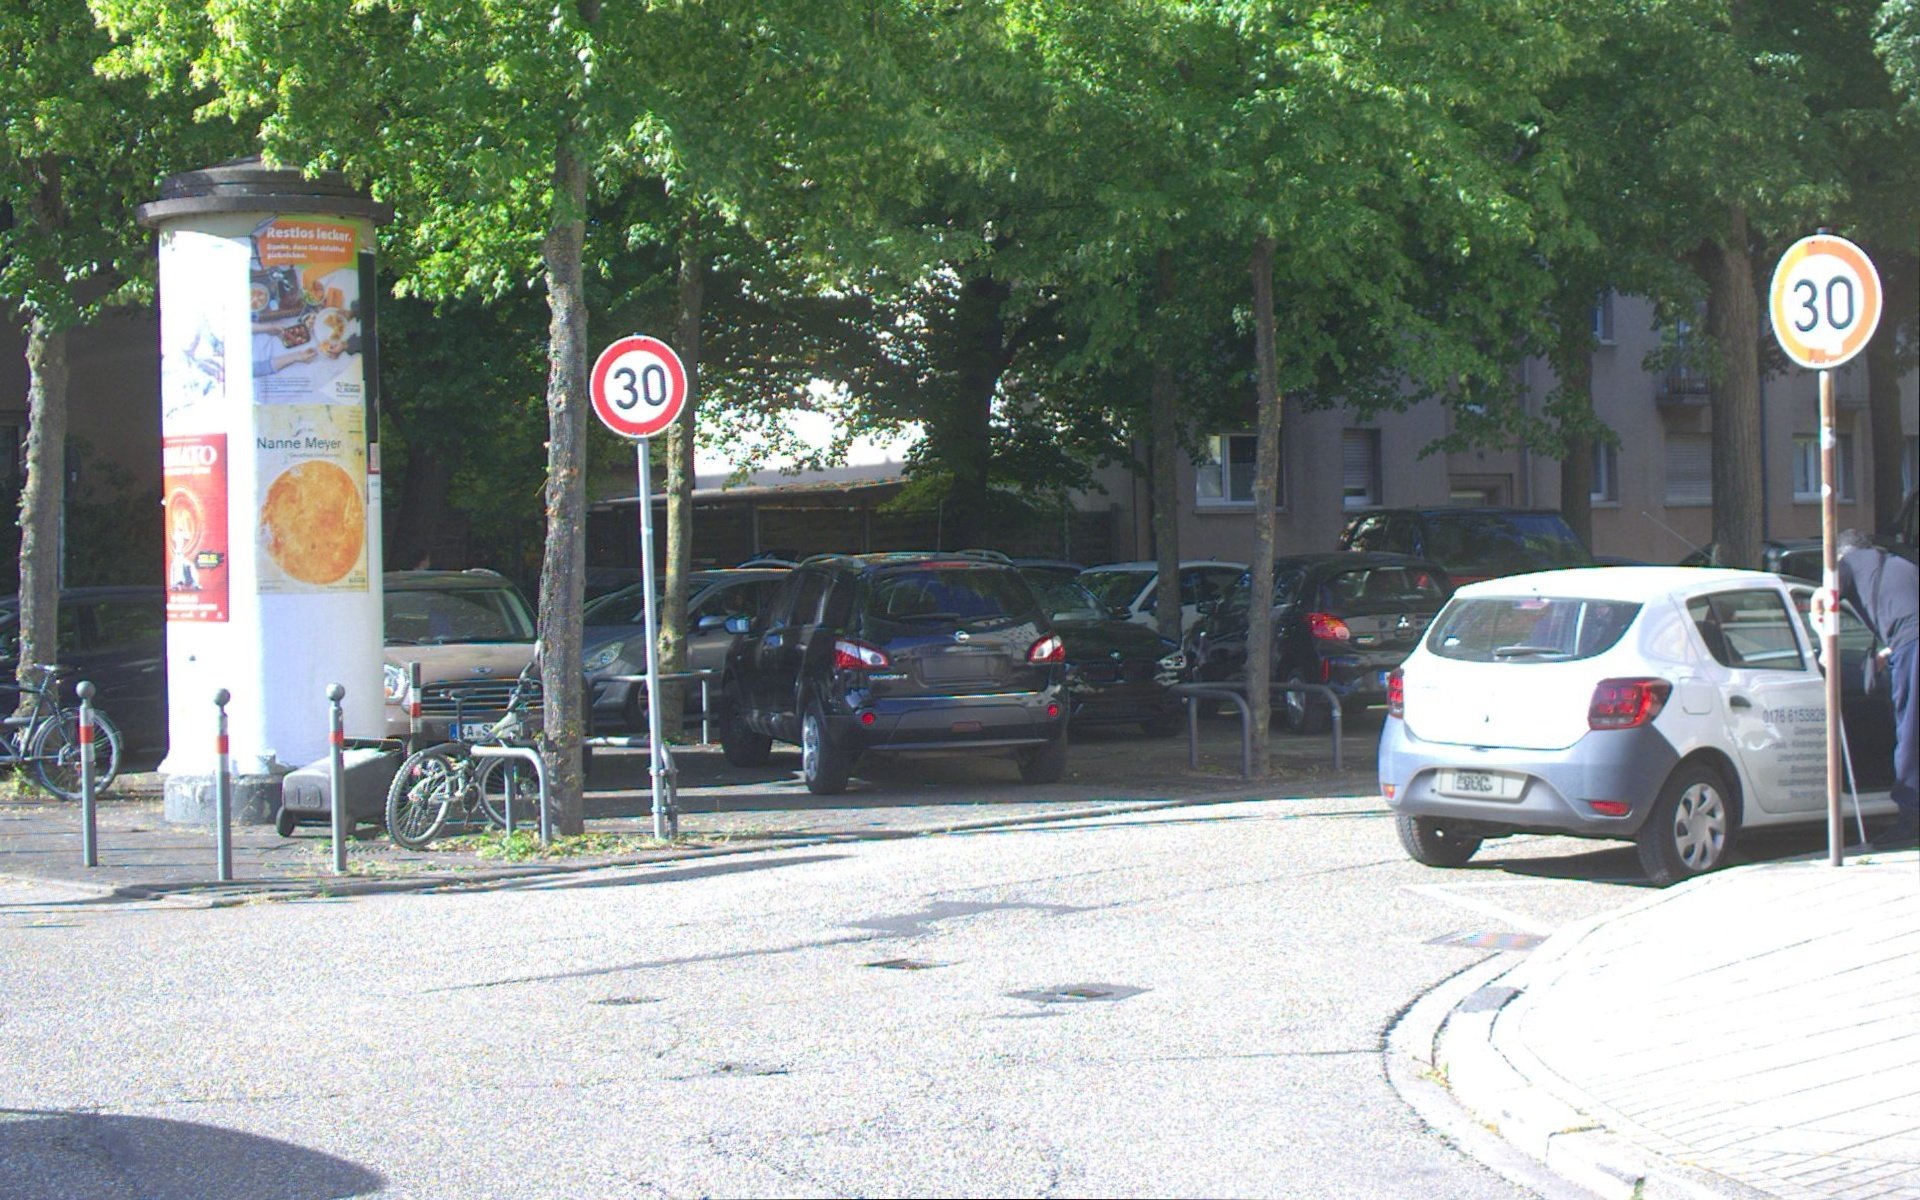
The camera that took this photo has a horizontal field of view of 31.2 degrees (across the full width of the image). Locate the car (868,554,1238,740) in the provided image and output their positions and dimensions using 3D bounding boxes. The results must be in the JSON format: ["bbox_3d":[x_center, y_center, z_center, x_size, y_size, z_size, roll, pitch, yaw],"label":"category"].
[{"bbox_3d":[0.708,0.348,29.190,1.815,1.417,3.950,-2,1,-19],"label":"car"}]

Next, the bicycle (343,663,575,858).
[{"bbox_3d":[-2.993,0.942,20.678,0.353,1.068,1.589,-1,1,36],"label":"bicycle"}]

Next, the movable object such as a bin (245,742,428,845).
[{"bbox_3d":[-3.900,1.205,21.563,0.576,0.563,1.112,-1,1,26],"label":"movable object such as a bin"}]

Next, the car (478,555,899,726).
[{"bbox_3d":[-2.553,0.351,33.069,1.758,1.481,3.940,-1,1,40],"label":"car"}]

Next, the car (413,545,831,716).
[{"bbox_3d":[-3.526,0.285,36.409,1.758,1.634,4.236,0,1,45],"label":"car"}]

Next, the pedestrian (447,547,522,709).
[{"bbox_3d":[-5.180,0.297,37.410,0.740,1.729,0.540,-2,1,-11],"label":"pedestrian"}]

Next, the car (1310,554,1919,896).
[{"bbox_3d":[3.804,0.555,17.747,4.012,1.492,1.724,-2,1,-43],"label":"car"}]

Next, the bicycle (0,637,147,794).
[{"bbox_3d":[-6.628,0.829,24.853,0.353,1.068,1.589,-1,1,36],"label":"bicycle"}]

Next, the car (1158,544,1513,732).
[{"bbox_3d":[3.163,0.280,29.732,1.755,1.476,3.825,-2,1,-15],"label":"car"}]

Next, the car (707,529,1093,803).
[{"bbox_3d":[-0.538,0.385,24.798,1.831,1.665,4.339,-1,3,-14],"label":"car"}]

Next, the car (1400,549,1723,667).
[{"bbox_3d":[7.482,0.080,42.513,1.768,1.290,4.403,-3,-1,43],"label":"car"}]

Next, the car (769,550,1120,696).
[{"bbox_3d":[-0.145,0.239,40.214,3.938,1.564,1.758,-2,1,-43],"label":"car"}]

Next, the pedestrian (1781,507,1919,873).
[{"bbox_3d":[4.535,0.412,16.623,0.743,1.716,0.761,-2,1,-38],"label":"pedestrian"}]

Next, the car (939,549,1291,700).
[{"bbox_3d":[1.723,0.234,37.090,1.758,1.481,3.940,-1,1,40],"label":"car"}]

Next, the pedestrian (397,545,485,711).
[{"bbox_3d":[-5.511,0.292,36.509,0.742,1.729,0.538,-1,1,42],"label":"pedestrian"}]

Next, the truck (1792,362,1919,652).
[{"bbox_3d":[12.217,-1.083,38.647,2.538,3.282,7.327,-2,1,-12],"label":"truck"}]

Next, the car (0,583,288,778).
[{"bbox_3d":[-8.025,0.673,28.863,4.289,1.513,1.908,-2,1,-43],"label":"car"}]

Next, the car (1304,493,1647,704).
[{"bbox_3d":[4.896,-0.047,33.350,1.929,1.867,4.504,-1,1,-10],"label":"car"}]

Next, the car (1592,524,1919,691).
[{"bbox_3d":[7.881,0.039,33.941,1.807,1.502,4.345,-1,1,-10],"label":"car"}]

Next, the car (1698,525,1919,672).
[{"bbox_3d":[9.783,-0.057,37.625,1.807,1.502,4.345,-1,1,-10],"label":"car"}]

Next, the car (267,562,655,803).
[{"bbox_3d":[-3.842,0.569,25.914,1.916,1.605,4.001,-2,1,-23],"label":"car"}]
